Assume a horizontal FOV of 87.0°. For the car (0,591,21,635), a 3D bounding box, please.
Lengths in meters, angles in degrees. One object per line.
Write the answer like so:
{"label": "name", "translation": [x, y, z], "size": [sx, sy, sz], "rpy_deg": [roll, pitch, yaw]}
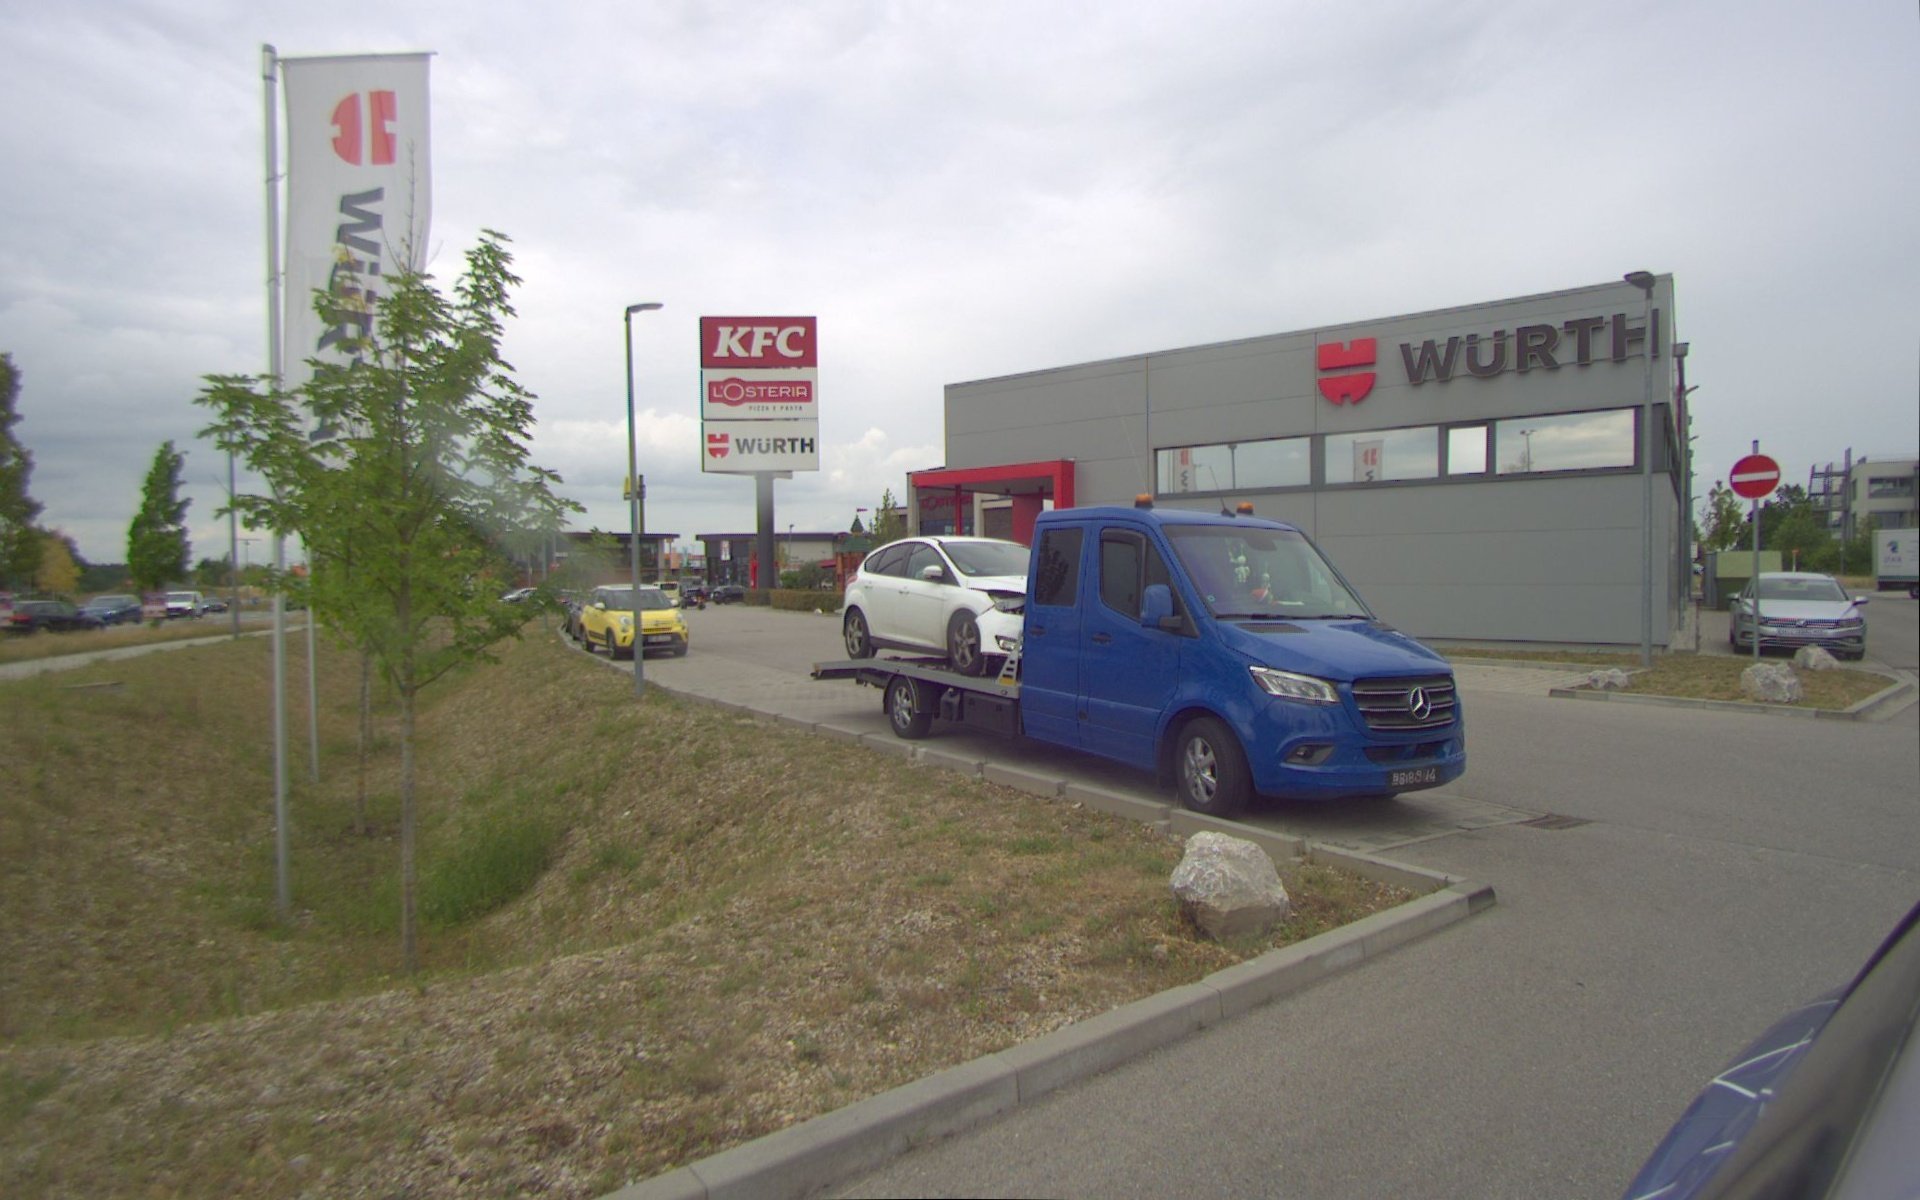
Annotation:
{"label": "car", "translation": [-35.724, 0.523, 36.250], "size": [1.870, 1.588, 4.343], "rpy_deg": [-2, 2, -26]}

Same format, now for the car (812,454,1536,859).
{"label": "car", "translation": [1.066, 0.207, 9.816], "size": [2.158, 2.351, 7.866], "rpy_deg": [-2, 2, -30]}

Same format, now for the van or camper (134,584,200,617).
{"label": "van or camper", "translation": [-51.878, -0.007, 66.341], "size": [1.958, 1.935, 5.215], "rpy_deg": [-1, 2, -21]}

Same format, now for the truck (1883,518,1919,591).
{"label": "truck", "translation": [41.496, -1.894, 40.534], "size": [2.389, 3.053, 7.074], "rpy_deg": [-2, 2, -2]}

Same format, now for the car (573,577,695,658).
{"label": "car", "translation": [-7.942, 0.346, 24.388], "size": [1.719, 1.704, 4.301], "rpy_deg": [-3, 2, -33]}

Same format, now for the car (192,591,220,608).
{"label": "car", "translation": [-68.939, -0.034, 92.555], "size": [1.740, 1.401, 4.153], "rpy_deg": [-1, 2, -32]}

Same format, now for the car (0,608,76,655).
{"label": "car", "translation": [-31.462, 1.044, 34.107], "size": [1.464, 1.402, 3.348], "rpy_deg": [-2, 2, -23]}

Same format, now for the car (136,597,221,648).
{"label": "car", "translation": [-29.585, 0.806, 38.423], "size": [1.650, 1.697, 3.513], "rpy_deg": [-2, 2, -23]}

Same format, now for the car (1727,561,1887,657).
{"label": "car", "translation": [15.992, 0.055, 19.013], "size": [1.975, 1.509, 4.696], "rpy_deg": [3, 4, 44]}

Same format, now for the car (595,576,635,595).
{"label": "car", "translation": [-40.332, -1.673, 118.379], "size": [3.932, 2.038, 1.997], "rpy_deg": [-1, 2, 7]}

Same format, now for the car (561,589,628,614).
{"label": "car", "translation": [-23.415, 0.084, 64.842], "size": [3.917, 1.437, 1.814], "rpy_deg": [-2, 1, -23]}

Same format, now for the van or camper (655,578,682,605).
{"label": "van or camper", "translation": [-23.819, -0.710, 82.747], "size": [1.821, 2.087, 5.245], "rpy_deg": [-1, 1, -13]}
